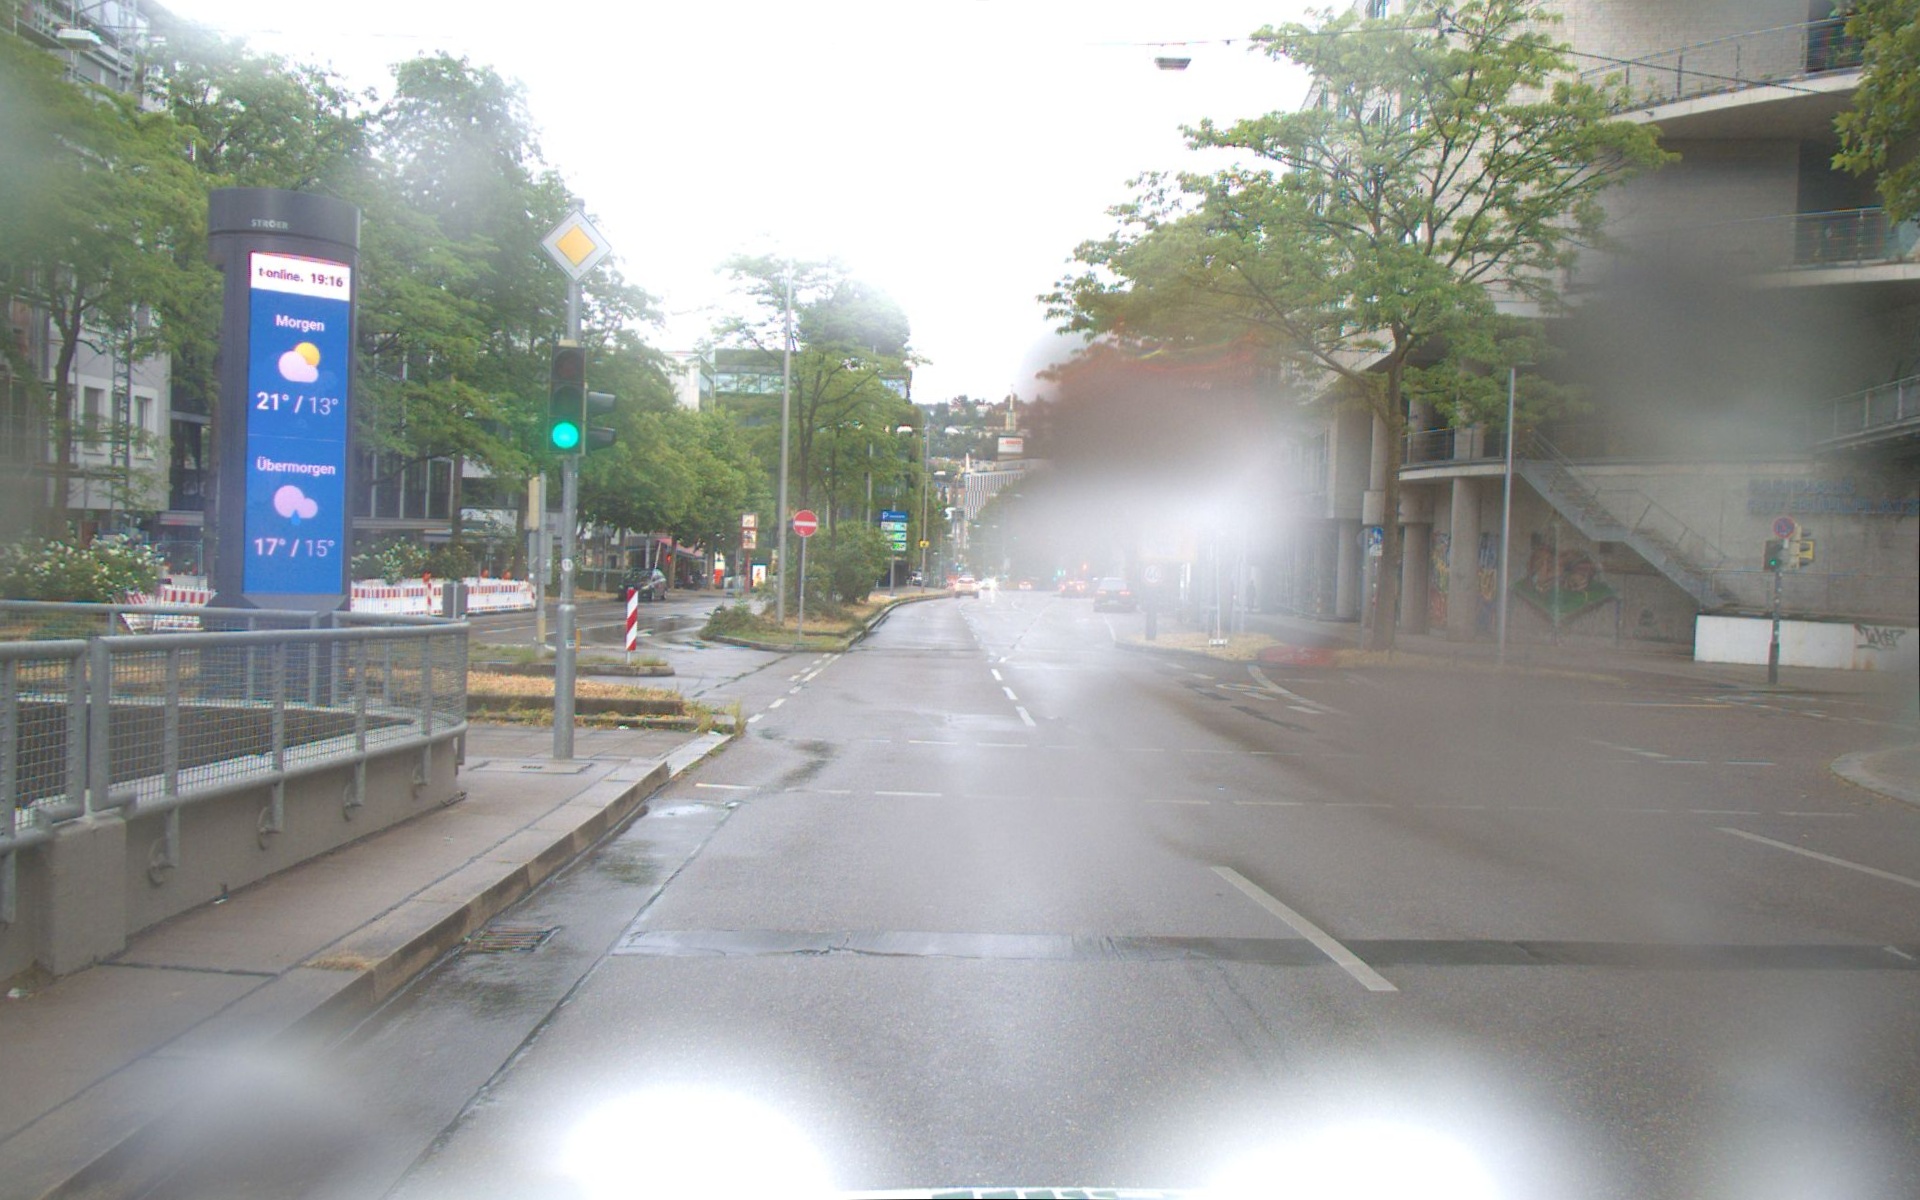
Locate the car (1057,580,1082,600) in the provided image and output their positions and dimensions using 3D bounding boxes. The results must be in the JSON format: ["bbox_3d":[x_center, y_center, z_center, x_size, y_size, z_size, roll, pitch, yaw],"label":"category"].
[{"bbox_3d":[10.321,-0.932,155.796,1.953,1.754,3.999,1,0,-2],"label":"car"}]

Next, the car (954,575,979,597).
[{"bbox_3d":[0.558,-1.139,133.869,1.791,1.668,4.302,2,0,2],"label":"car"}]

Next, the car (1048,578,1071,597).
[{"bbox_3d":[10.034,-1.267,166.960,1.953,1.766,3.999,1,0,-1],"label":"car"}]

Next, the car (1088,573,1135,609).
[{"bbox_3d":[7.669,-0.464,83.535,2.288,1.720,4.003,1,1,6],"label":"car"}]

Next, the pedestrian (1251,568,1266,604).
[{"bbox_3d":[16.278,-0.742,90.239,0.759,1.954,0.703,1,-1,9],"label":"pedestrian"}]
